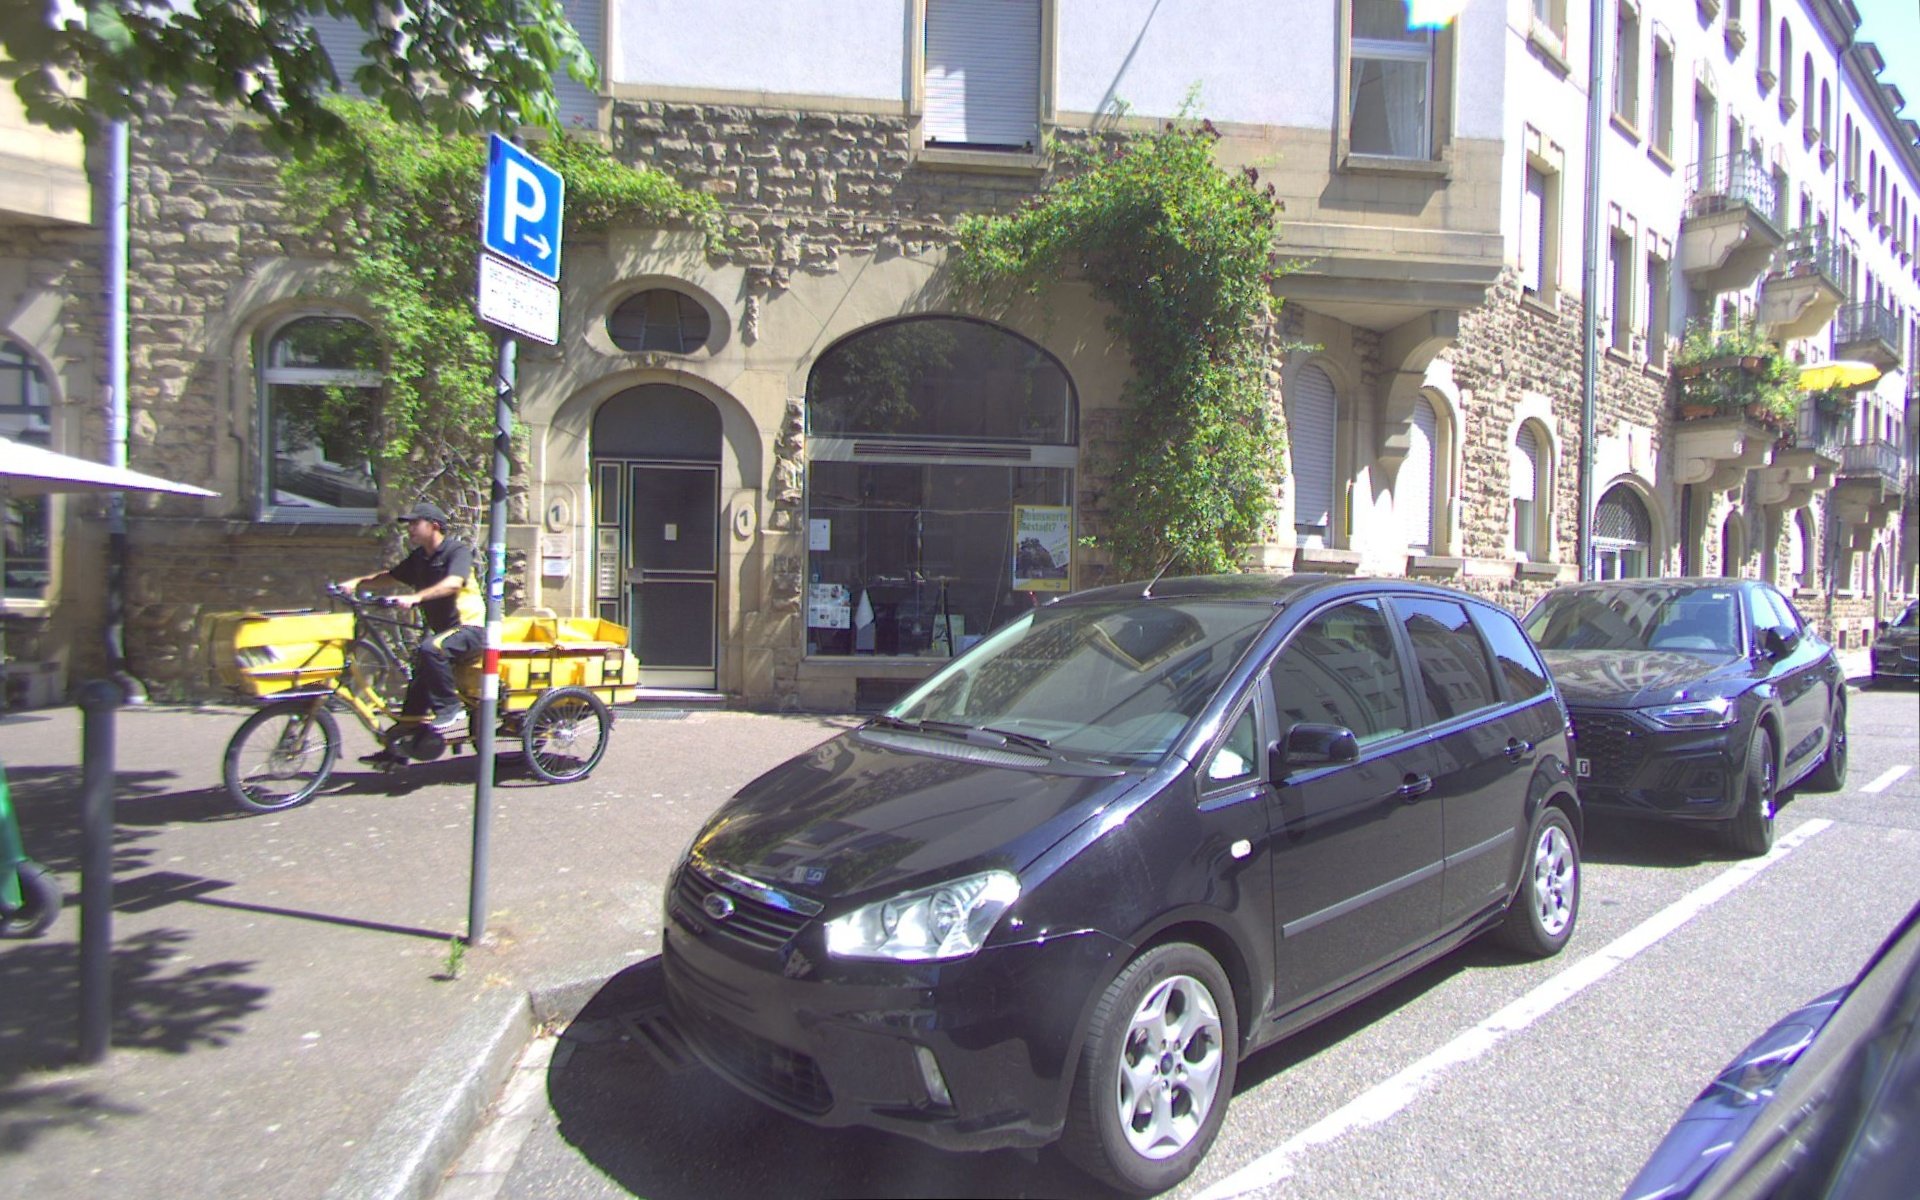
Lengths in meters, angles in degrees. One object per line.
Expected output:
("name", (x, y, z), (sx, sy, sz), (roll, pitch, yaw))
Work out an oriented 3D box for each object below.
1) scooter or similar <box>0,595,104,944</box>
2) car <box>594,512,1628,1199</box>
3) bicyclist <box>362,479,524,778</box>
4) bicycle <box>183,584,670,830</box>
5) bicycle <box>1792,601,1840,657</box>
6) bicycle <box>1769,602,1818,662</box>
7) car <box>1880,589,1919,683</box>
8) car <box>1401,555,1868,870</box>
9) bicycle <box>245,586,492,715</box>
("scooter or similar", (-3.794, 0.561, 3.570), (1.162, 1.150, 0.443), (1, 1, -2))
("car", (0.926, 0.612, 3.908), (4.104, 1.560, 1.666), (0, -1, -40))
("bicyclist", (-3.122, 0.141, 6.114), (0.677, 1.668, 0.652), (3, 2, 40))
("bicycle", (-3.093, 0.506, 6.197), (0.792, 1.183, 2.542), (2, 2, 39))
("bicycle", (19.696, 0.643, 23.281), (1.742, 1.222, 0.442), (0, 2, -37))
("bicycle", (17.893, 0.657, 21.717), (1.742, 1.222, 0.385), (0, 2, -37))
("car", (18.222, 0.592, 18.231), (4.523, 1.587, 1.836), (0, -1, -40))
("car", (5.025, 0.578, 7.281), (4.272, 1.617, 1.738), (0, -1, -41))
("bicycle", (-5.126, 0.429, 8.845), (1.800, 1.052, 0.550), (1, 1, -5))
